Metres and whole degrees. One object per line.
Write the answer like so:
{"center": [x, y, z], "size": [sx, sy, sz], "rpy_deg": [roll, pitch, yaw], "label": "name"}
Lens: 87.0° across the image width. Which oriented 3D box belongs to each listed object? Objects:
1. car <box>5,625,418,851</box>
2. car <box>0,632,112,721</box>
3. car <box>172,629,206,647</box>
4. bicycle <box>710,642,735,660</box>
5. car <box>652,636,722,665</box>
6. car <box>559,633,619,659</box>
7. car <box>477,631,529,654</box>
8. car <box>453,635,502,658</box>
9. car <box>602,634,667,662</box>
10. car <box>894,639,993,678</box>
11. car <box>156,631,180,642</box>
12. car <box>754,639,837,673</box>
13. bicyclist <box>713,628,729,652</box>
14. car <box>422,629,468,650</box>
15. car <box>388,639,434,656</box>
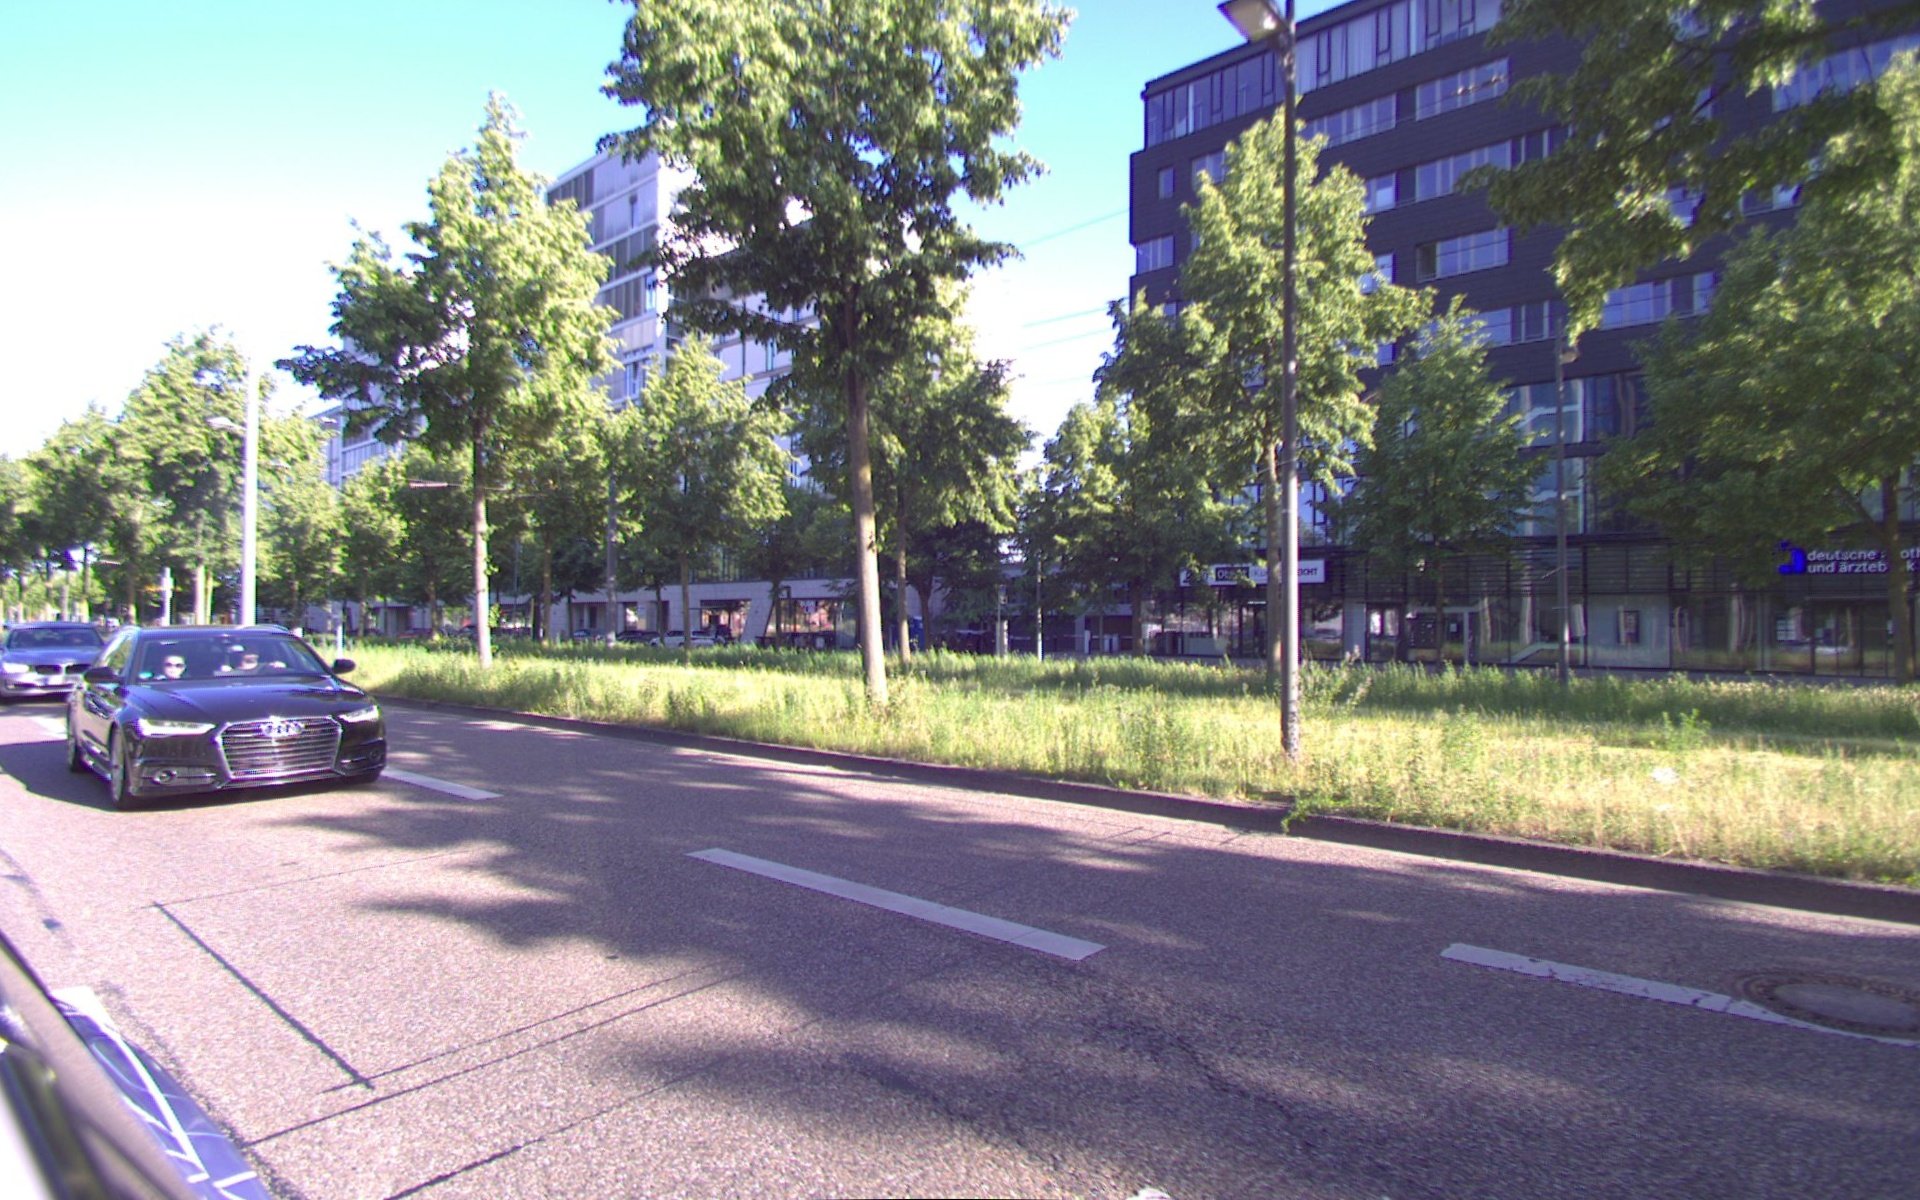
{"center": [-6.901, 0.989, 9.094], "size": [4.963, 1.496, 1.855], "rpy_deg": [-1, -2, 40], "label": "car"}
{"center": [-17.772, 1.372, 19.206], "size": [4.558, 1.496, 1.800], "rpy_deg": [-1, -2, 40], "label": "car"}
{"center": [-74.557, 3.690, 97.821], "size": [3.998, 1.694, 1.870], "rpy_deg": [-1, -2, 41], "label": "car"}
{"center": [-14.059, 3.024, 59.876], "size": [1.755, 1.043, 0.472], "rpy_deg": [-1, -2, 41], "label": "bicycle"}
{"center": [-15.654, 2.853, 57.855], "size": [4.181, 1.610, 1.859], "rpy_deg": [-1, -2, 41], "label": "car"}
{"center": [-23.963, 2.944, 65.301], "size": [4.181, 1.610, 1.859], "rpy_deg": [-1, -2, 41], "label": "car"}
{"center": [-32.912, 3.040, 72.799], "size": [4.181, 1.610, 1.859], "rpy_deg": [-1, -2, 41], "label": "car"}
{"center": [-36.379, 3.487, 76.289], "size": [4.181, 1.610, 1.859], "rpy_deg": [-1, -2, 41], "label": "car"}
{"center": [-19.931, 2.900, 61.893], "size": [4.181, 1.610, 1.859], "rpy_deg": [-1, -2, 41], "label": "car"}
{"center": [-0.768, 2.541, 44.492], "size": [4.181, 1.610, 1.926], "rpy_deg": [-1, -2, 41], "label": "car"}
{"center": [-108.953, 4.998, 139.226], "size": [4.001, 1.406, 1.971], "rpy_deg": [-2, -3, 44], "label": "car"}
{"center": [-8.316, 2.770, 50.955], "size": [4.181, 1.610, 1.926], "rpy_deg": [-1, -2, 41], "label": "car"}
{"center": [-14.174, 2.369, 60.002], "size": [0.820, 1.435, 0.472], "rpy_deg": [-1, -3, 41], "label": "bicyclist"}
{"center": [-40.837, 3.122, 80.194], "size": [4.181, 1.610, 1.859], "rpy_deg": [-1, -2, 41], "label": "car"}
{"center": [-46.195, 3.964, 85.111], "size": [3.995, 1.406, 1.974], "rpy_deg": [-1, -3, 39], "label": "car"}
